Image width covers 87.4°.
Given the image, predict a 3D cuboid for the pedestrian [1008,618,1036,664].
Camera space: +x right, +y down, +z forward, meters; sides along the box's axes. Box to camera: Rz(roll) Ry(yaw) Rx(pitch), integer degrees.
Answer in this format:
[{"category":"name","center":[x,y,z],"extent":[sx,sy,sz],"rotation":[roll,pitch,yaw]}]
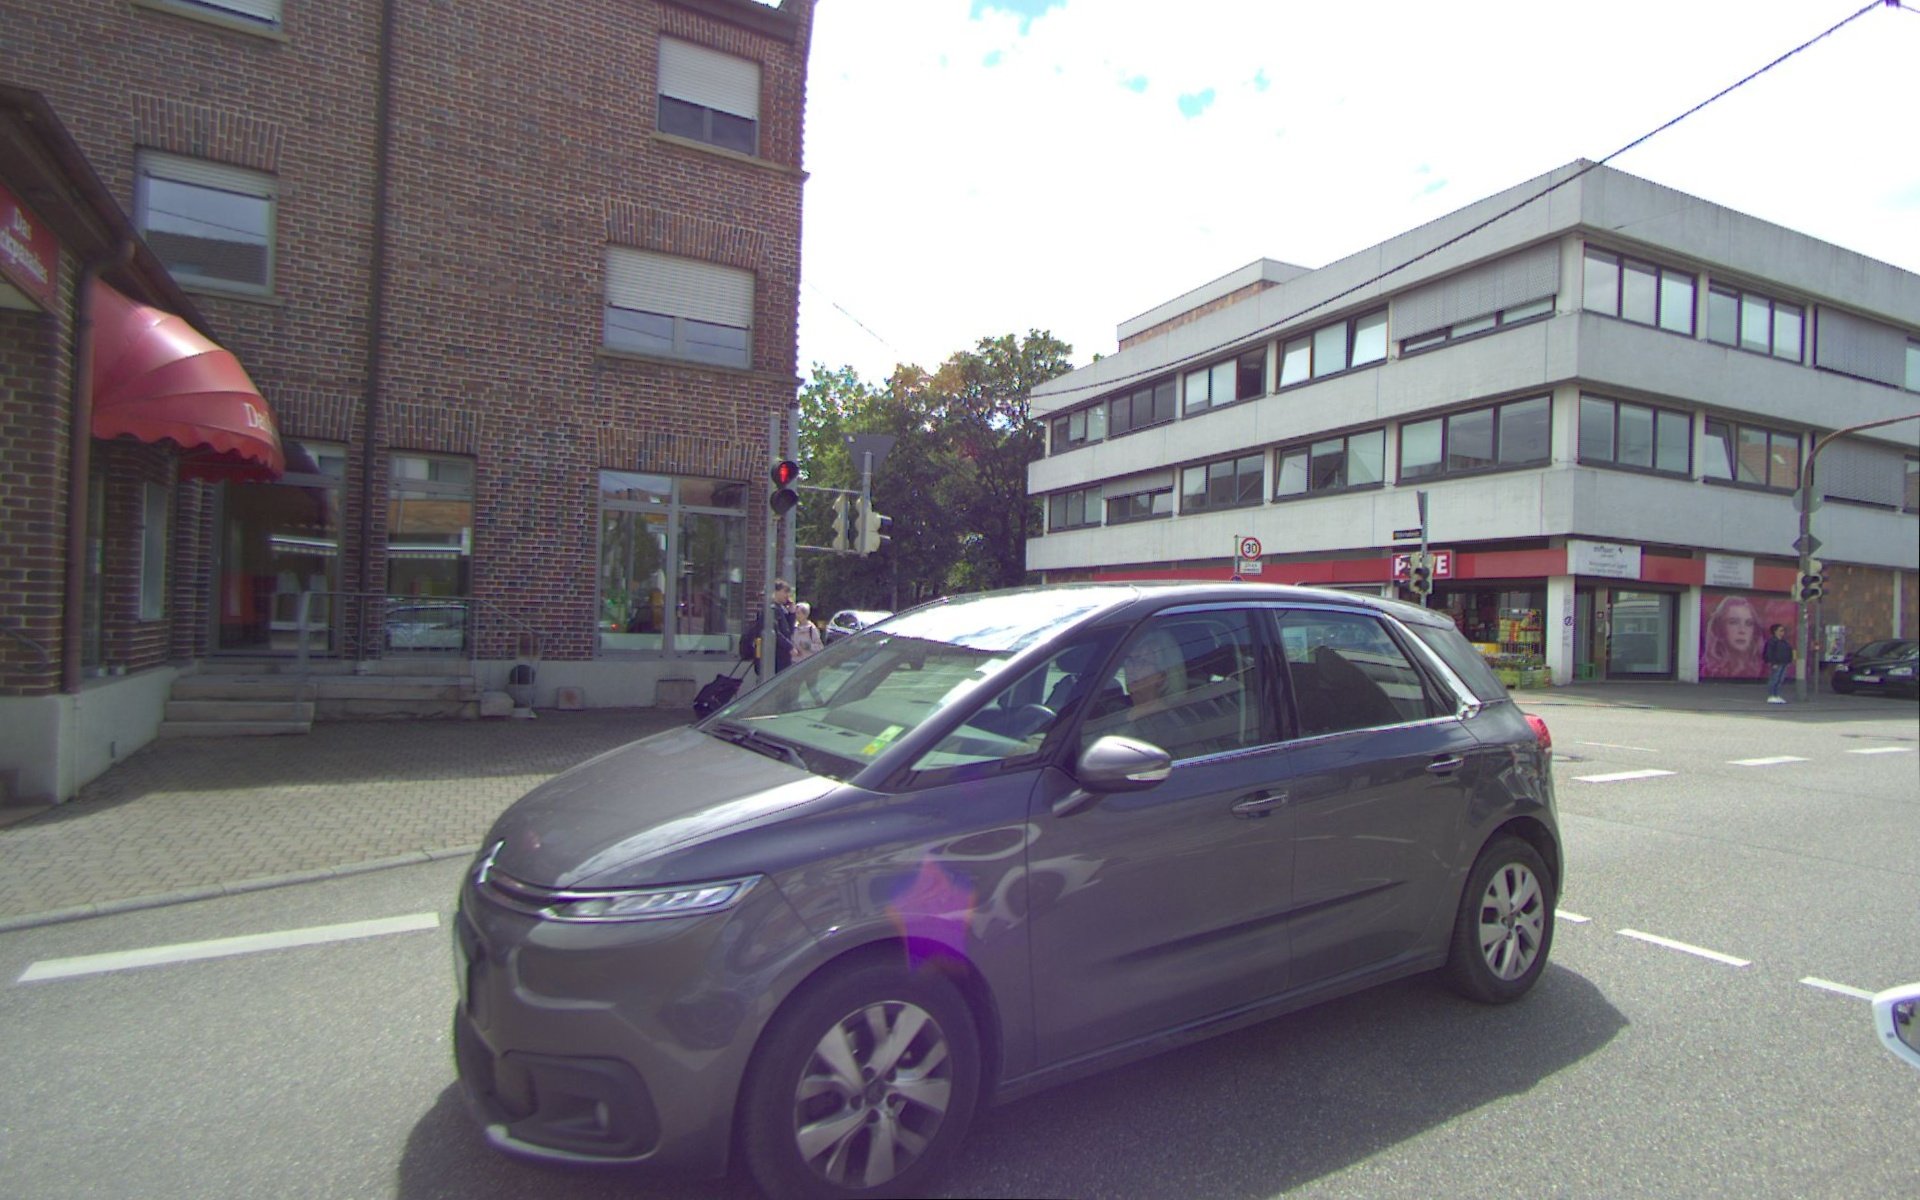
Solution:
[{"category":"pedestrian","center":[2.153,1.424,34.983],"extent":[0.671,1.598,0.727],"rotation":[1,-1,-37]}]

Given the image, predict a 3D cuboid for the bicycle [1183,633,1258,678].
[{"category":"bicycle","center":[6.944,1.473,26.866],"extent":[0.769,1.157,1.867],"rotation":[2,-3,-39]}]

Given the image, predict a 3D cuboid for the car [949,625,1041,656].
[{"category":"car","center":[1.525,1.792,44.453],"extent":[3.669,1.338,1.776],"rotation":[1,-1,-21]}]

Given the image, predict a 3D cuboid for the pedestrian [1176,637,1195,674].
[{"category":"pedestrian","center":[6.426,1.575,28.591],"extent":[0.357,1.018,0.384],"rotation":[3,-1,34]}]

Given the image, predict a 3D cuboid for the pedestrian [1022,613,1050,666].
[{"category":"pedestrian","center":[2.687,1.387,35.717],"extent":[0.671,1.860,0.727],"rotation":[1,-1,-37]}]

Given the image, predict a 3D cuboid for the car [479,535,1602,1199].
[{"category":"car","center":[0.490,0.716,3.851],"extent":[4.055,1.610,1.780],"rotation":[1,-1,-32]}]

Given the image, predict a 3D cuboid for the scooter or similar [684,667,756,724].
[{"category":"scooter or similar","center":[-2.957,1.170,12.434],"extent":[0.374,0.654,0.807],"rotation":[-1,-3,37]}]

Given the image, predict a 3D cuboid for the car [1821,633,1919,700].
[{"category":"car","center":[23.842,1.656,25.317],"extent":[4.033,1.484,1.779],"rotation":[2,0,-26]}]

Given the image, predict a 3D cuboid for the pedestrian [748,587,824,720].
[{"category":"pedestrian","center":[-2.266,0.693,13.093],"extent":[0.753,1.680,0.521],"rotation":[3,-1,-32]}]

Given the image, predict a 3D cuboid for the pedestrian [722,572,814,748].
[{"category":"pedestrian","center":[-2.077,0.635,10.856],"extent":[0.713,1.820,0.622],"rotation":[3,-1,-32]}]

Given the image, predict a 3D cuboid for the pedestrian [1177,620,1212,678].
[{"category":"pedestrian","center":[6.797,1.417,29.077],"extent":[0.712,1.618,0.695],"rotation":[3,-1,34]}]

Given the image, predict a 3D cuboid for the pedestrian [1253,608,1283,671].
[{"category":"pedestrian","center":[9.064,1.152,29.549],"extent":[0.612,1.799,0.554],"rotation":[3,-1,35]}]

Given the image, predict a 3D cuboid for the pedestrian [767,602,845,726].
[{"category":"pedestrian","center":[-1.942,0.803,12.648],"extent":[0.753,1.504,0.521],"rotation":[3,-1,-32]}]

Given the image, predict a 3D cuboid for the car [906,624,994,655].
[{"category":"car","center":[-0.488,1.803,46.225],"extent":[3.669,1.339,1.776],"rotation":[1,-1,-21]}]

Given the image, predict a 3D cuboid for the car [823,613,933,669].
[{"category":"car","center":[-2.568,1.211,30.644],"extent":[1.898,1.595,3.970],"rotation":[1,-2,-29]}]

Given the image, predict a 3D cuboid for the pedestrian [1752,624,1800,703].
[{"category":"pedestrian","center":[17.605,1.364,21.672],"extent":[0.652,1.663,0.616],"rotation":[1,-1,-29]}]
